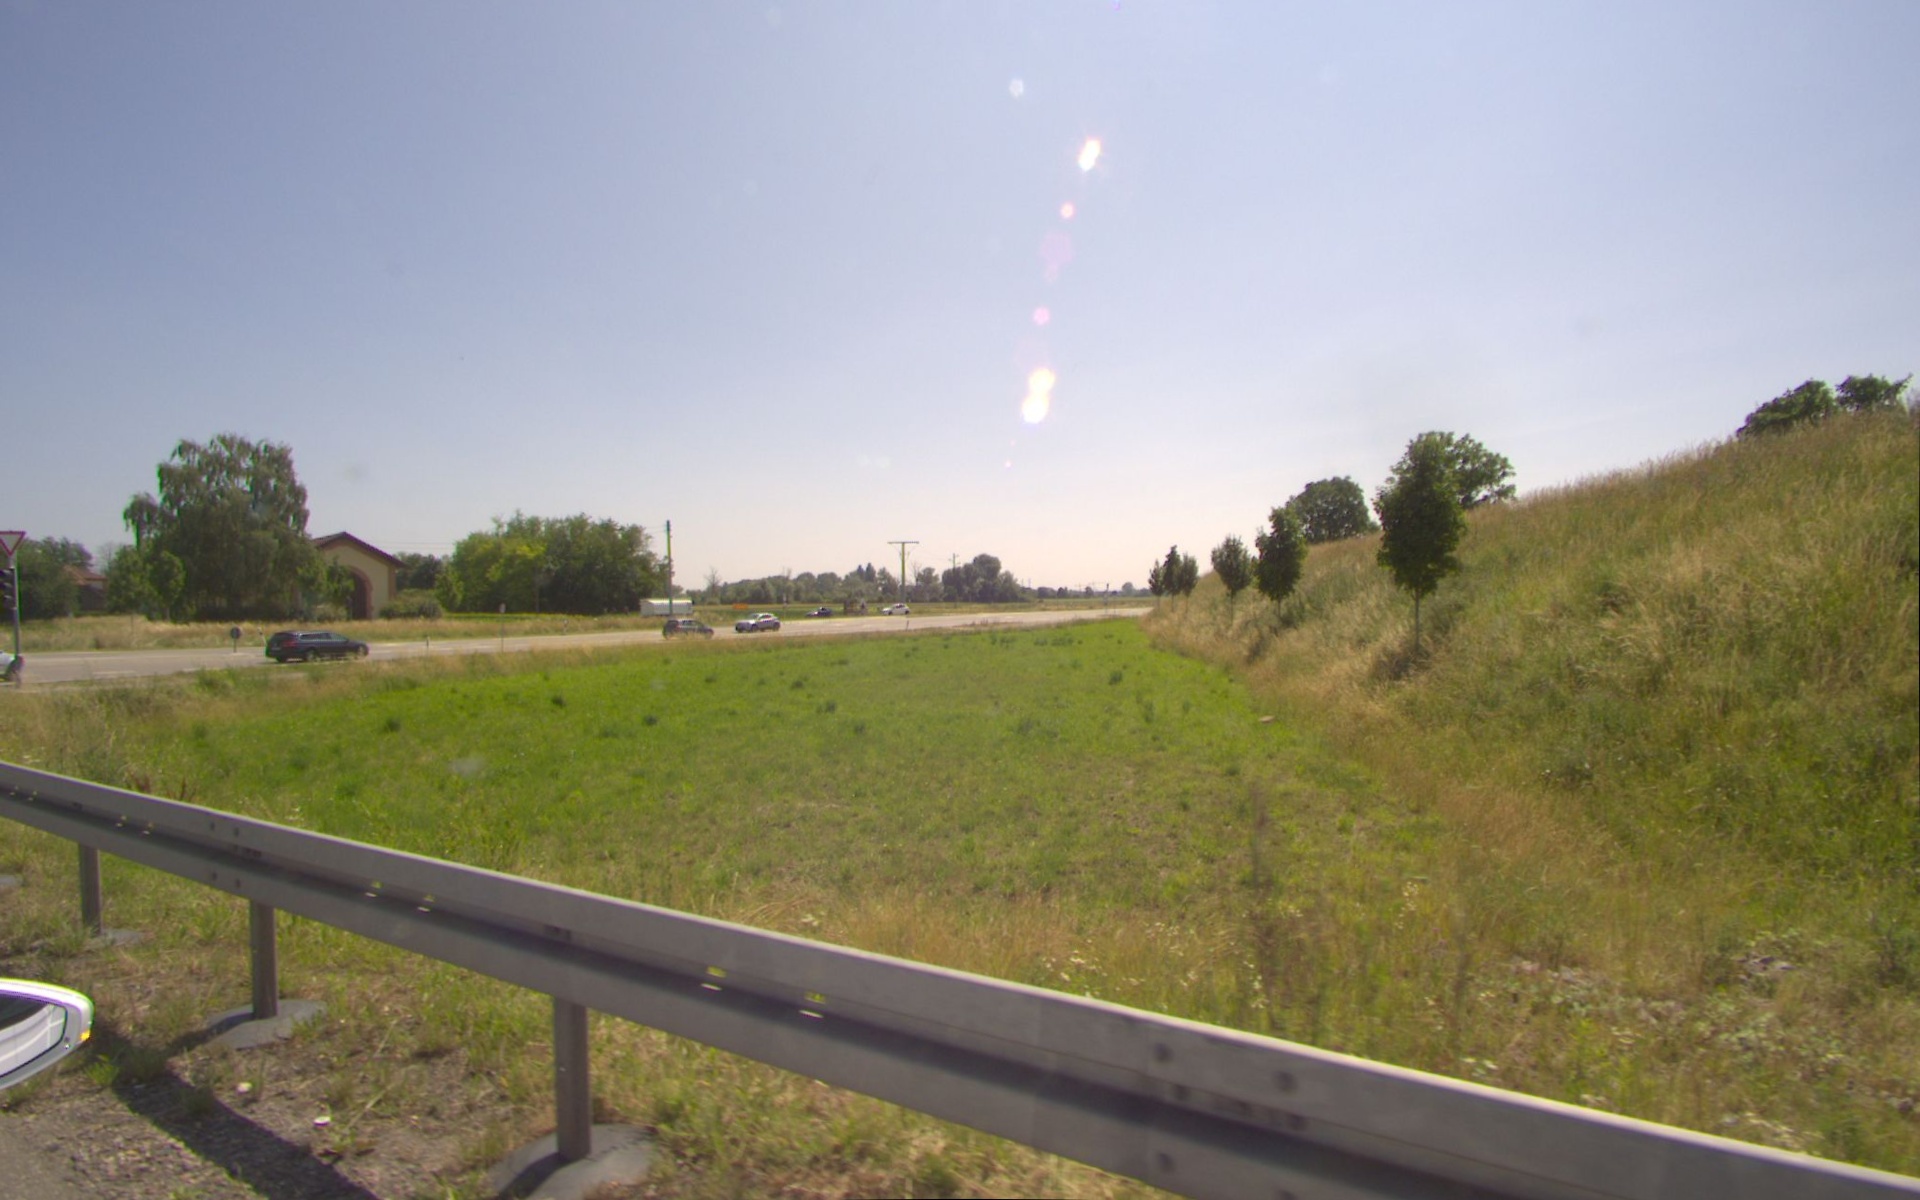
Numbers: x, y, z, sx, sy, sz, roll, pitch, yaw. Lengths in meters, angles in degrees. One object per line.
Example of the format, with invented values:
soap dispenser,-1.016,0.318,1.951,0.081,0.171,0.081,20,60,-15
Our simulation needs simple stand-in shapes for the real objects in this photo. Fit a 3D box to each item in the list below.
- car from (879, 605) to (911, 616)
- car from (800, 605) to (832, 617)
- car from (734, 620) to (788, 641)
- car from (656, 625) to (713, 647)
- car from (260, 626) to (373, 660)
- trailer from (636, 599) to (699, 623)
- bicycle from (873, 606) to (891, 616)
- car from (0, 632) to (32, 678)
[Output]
car,-8.644,1.380,133.547,3.976,1.350,1.689,1,1,-27
car,-17.724,1.345,123.327,1.659,1.406,3.809,1,1,40
car,-16.596,2.527,83.783,1.844,1.565,4.527,1,1,31
car,-19.787,2.566,72.055,1.777,1.541,3.868,-1,-2,27
car,-30.286,2.013,47.314,1.773,1.495,4.410,-1,-2,16
trailer,-31.897,1.132,109.294,2.651,2.489,6.339,1,1,36
bicycle,-11.473,1.558,147.362,2.572,1.389,0.900,-2,-2,22
car,-31.001,1.714,30.836,1.772,1.447,4.089,0,-2,-13
